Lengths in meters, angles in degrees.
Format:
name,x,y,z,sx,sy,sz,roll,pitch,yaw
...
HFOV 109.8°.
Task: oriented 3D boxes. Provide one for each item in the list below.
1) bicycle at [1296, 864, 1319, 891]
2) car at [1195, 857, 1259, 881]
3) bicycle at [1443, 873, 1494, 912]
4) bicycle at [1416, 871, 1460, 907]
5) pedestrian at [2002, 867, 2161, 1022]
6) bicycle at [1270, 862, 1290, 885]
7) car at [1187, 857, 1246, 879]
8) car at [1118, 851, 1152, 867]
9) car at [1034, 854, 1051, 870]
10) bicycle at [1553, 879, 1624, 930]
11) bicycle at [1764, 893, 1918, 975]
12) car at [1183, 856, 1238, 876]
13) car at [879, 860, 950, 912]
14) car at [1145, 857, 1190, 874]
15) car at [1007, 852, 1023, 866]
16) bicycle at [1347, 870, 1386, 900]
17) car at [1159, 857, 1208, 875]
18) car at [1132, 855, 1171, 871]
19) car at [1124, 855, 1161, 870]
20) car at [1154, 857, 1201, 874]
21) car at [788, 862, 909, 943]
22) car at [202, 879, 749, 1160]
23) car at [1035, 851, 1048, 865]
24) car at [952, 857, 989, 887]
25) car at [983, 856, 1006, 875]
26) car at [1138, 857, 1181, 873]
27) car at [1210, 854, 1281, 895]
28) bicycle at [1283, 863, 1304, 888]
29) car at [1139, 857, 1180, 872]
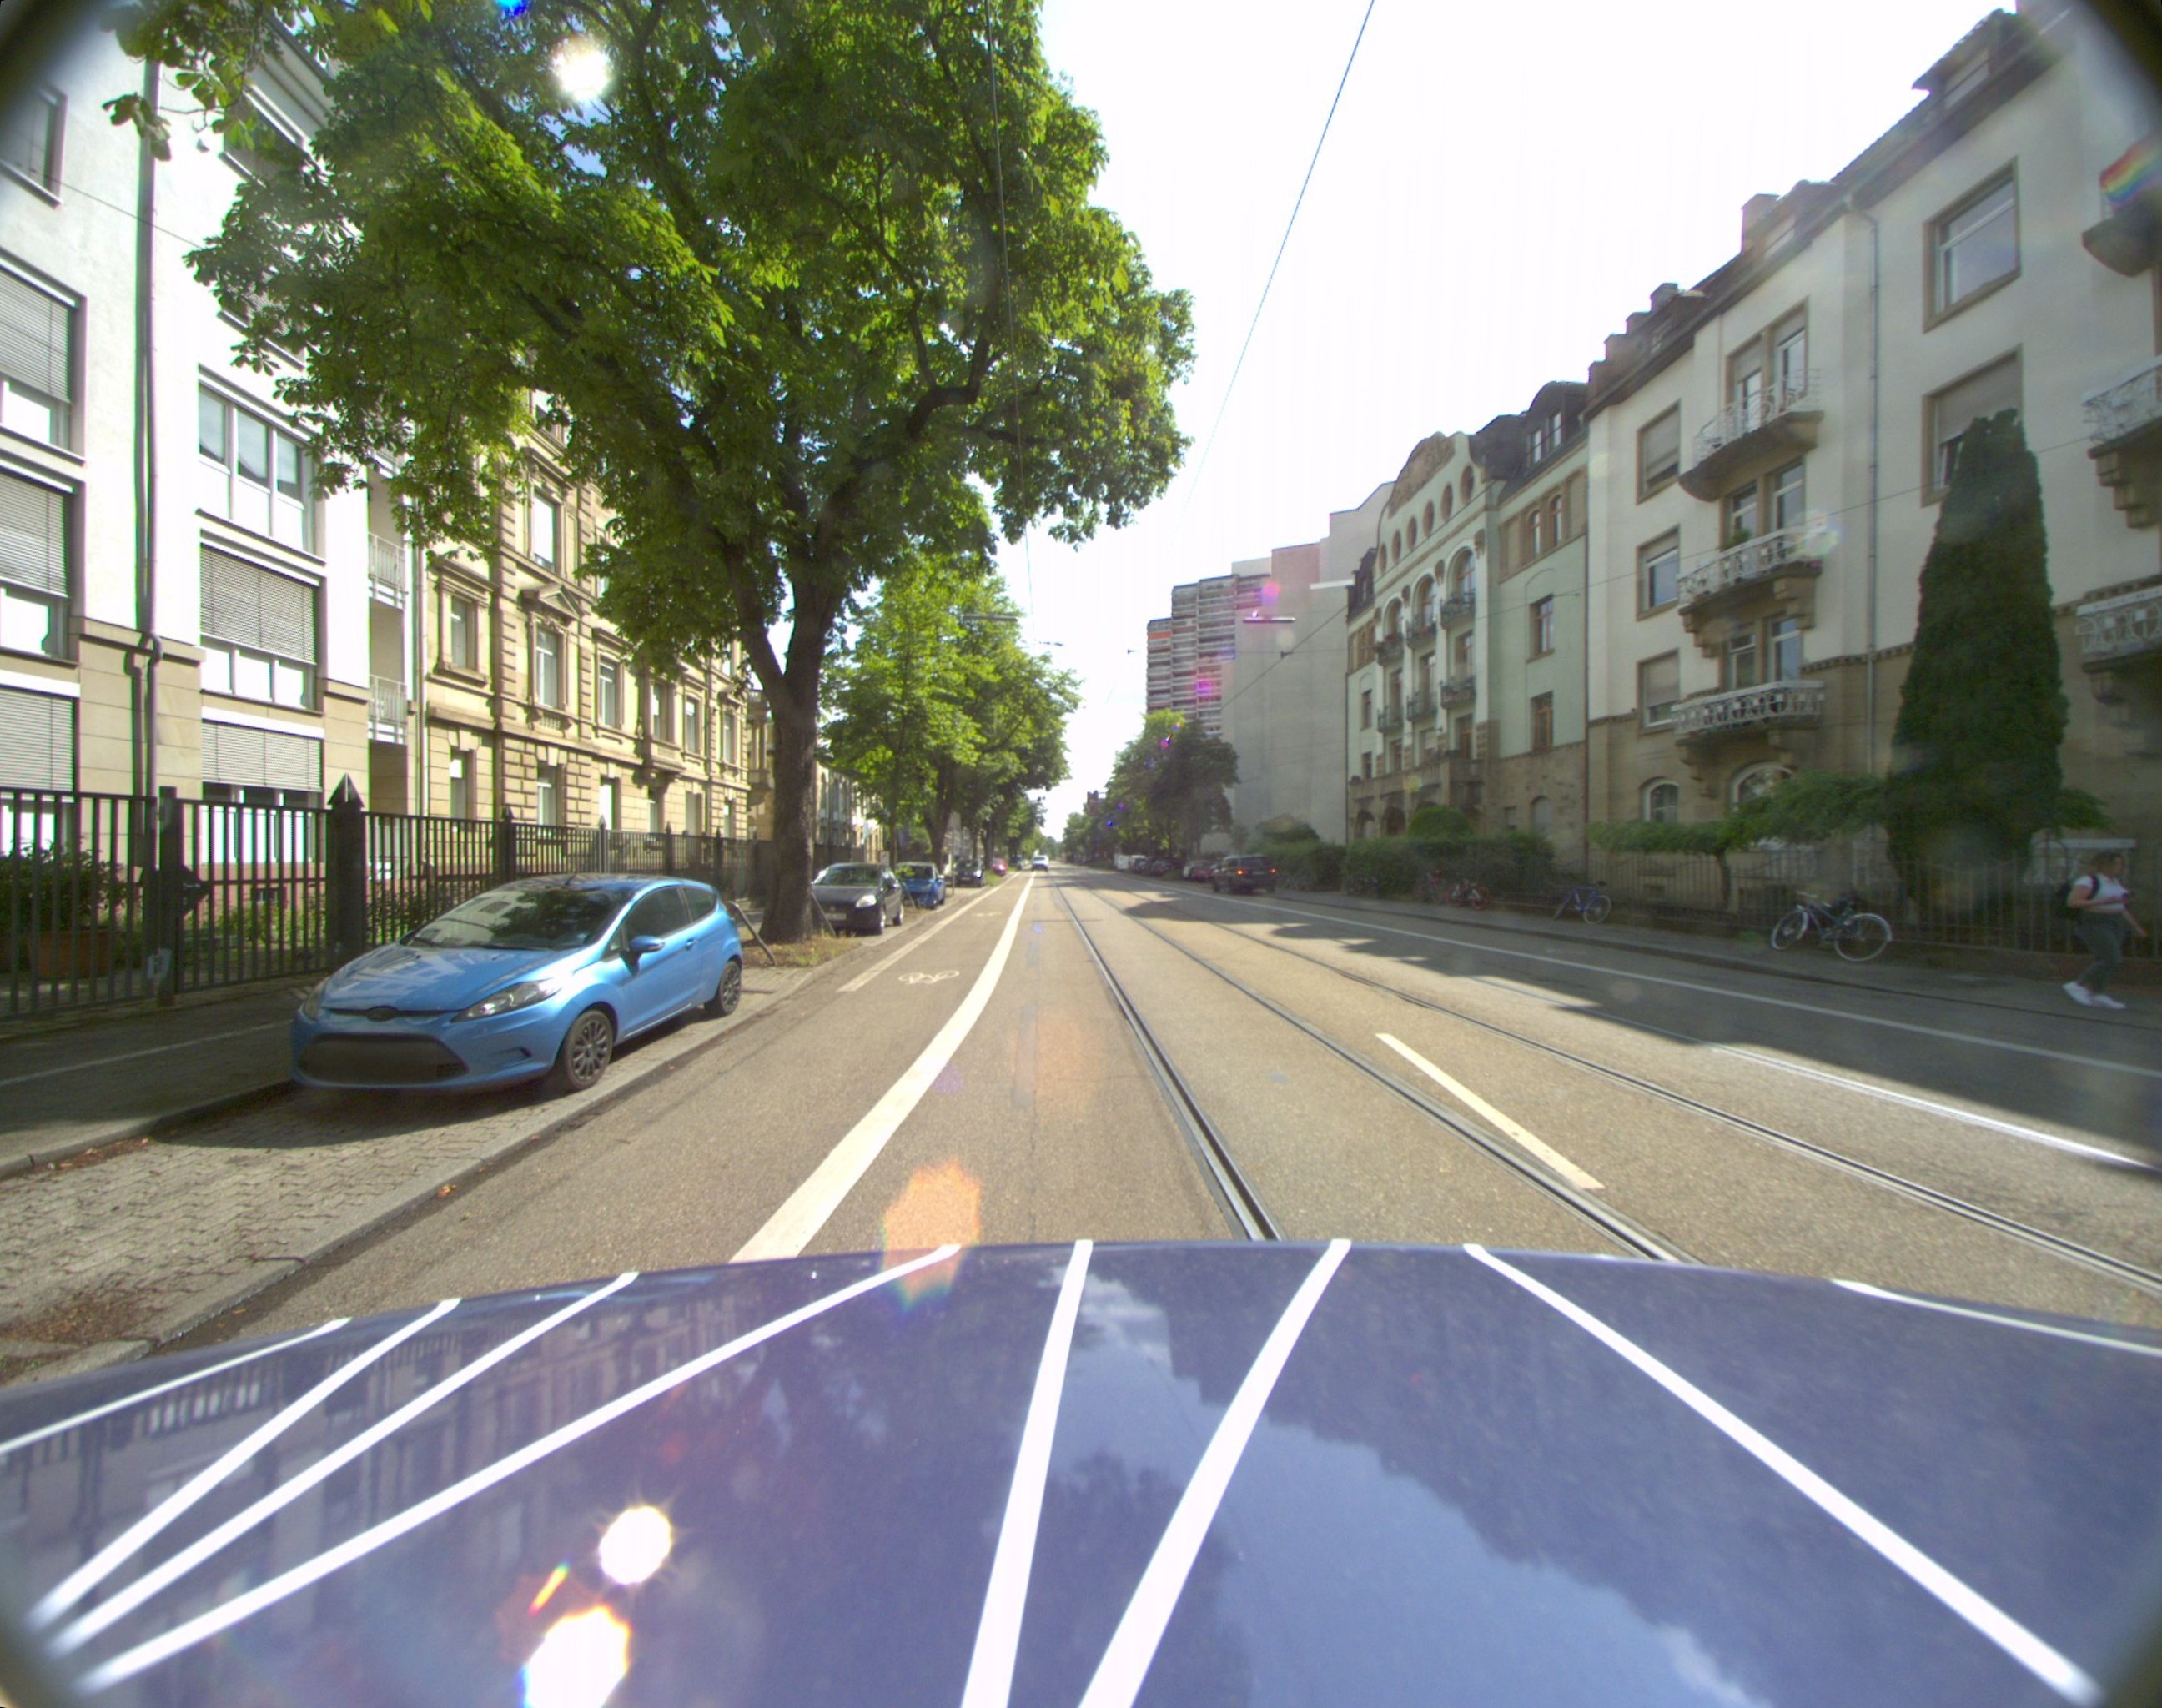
name,x,y,z,sx,sy,sz,roll,pitch,yaw
bicycle,10.143,1.030,34.015,0.468,1.128,1.787,0,0,-1
car,9.523,0.957,49.840,3.994,1.499,2.001,0,0,8
bicycle,10.650,1.044,20.919,0.468,0.990,1.787,0,0,-1
bicycle,10.687,1.039,22.818,0.468,0.990,1.787,0,0,-1
pedestrian,10.501,0.908,7.969,0.759,1.532,0.765,0,0,-2
bicycle,9.959,0.966,38.054,0.468,1.128,1.787,0,0,-1
car,9.488,0.968,53.348,3.994,1.499,2.001,0,0,8
car,6.376,0.583,89.323,1.994,1.740,4.008,-1,1,41
car,-4.654,0.897,92.316,1.974,1.901,4.817,0,0,-2
bicycle,10.942,1.054,16.435,0.467,0.990,1.787,0,0,5
bicycle,11.092,1.126,11.191,0.467,0.990,1.979,0,0,7
car,9.622,0.886,56.897,3.994,1.499,2.001,0,0,8
car,-5.337,0.995,24.779,1.679,1.467,3.659,3,0,-4
car,7.879,1.043,69.219,3.994,1.499,2.001,0,0,8
car,-7.872,0.577,90.986,1.744,1.564,3.928,3,0,-4
bicycle,10.098,1.074,26.905,0.605,0.990,1.981,0,0,-1
car,8.477,0.990,62.944,3.994,1.499,2.001,0,0,8
car,7.381,0.937,79.063,3.994,1.672,2.001,0,0,8
car,6.798,0.920,83.488,3.994,1.672,2.001,0,0,8
car,8.379,1.004,66.100,3.994,1.499,2.001,0,0,8
car,-4.925,0.973,16.565,1.679,1.467,3.659,3,0,-4
car,-4.325,1.038,6.267,1.647,1.467,3.660,3,0,-3
car,-7.301,0.716,140.930,2.146,2.568,4.817,0,0,-2
car,-6.246,0.974,43.356,1.744,1.564,3.659,3,0,-4
car,-7.491,0.968,66.312,1.744,1.564,3.928,3,0,-4
car,7.473,1.018,72.428,3.994,1.499,2.001,0,0,8
car,7.240,0.862,33.875,1.922,1.685,4.400,0,0,-5
bicycle,10.060,1.010,35.957,0.468,1.128,1.787,0,0,-1
car,7.800,1.017,75.589,3.994,1.499,2.001,0,0,8
